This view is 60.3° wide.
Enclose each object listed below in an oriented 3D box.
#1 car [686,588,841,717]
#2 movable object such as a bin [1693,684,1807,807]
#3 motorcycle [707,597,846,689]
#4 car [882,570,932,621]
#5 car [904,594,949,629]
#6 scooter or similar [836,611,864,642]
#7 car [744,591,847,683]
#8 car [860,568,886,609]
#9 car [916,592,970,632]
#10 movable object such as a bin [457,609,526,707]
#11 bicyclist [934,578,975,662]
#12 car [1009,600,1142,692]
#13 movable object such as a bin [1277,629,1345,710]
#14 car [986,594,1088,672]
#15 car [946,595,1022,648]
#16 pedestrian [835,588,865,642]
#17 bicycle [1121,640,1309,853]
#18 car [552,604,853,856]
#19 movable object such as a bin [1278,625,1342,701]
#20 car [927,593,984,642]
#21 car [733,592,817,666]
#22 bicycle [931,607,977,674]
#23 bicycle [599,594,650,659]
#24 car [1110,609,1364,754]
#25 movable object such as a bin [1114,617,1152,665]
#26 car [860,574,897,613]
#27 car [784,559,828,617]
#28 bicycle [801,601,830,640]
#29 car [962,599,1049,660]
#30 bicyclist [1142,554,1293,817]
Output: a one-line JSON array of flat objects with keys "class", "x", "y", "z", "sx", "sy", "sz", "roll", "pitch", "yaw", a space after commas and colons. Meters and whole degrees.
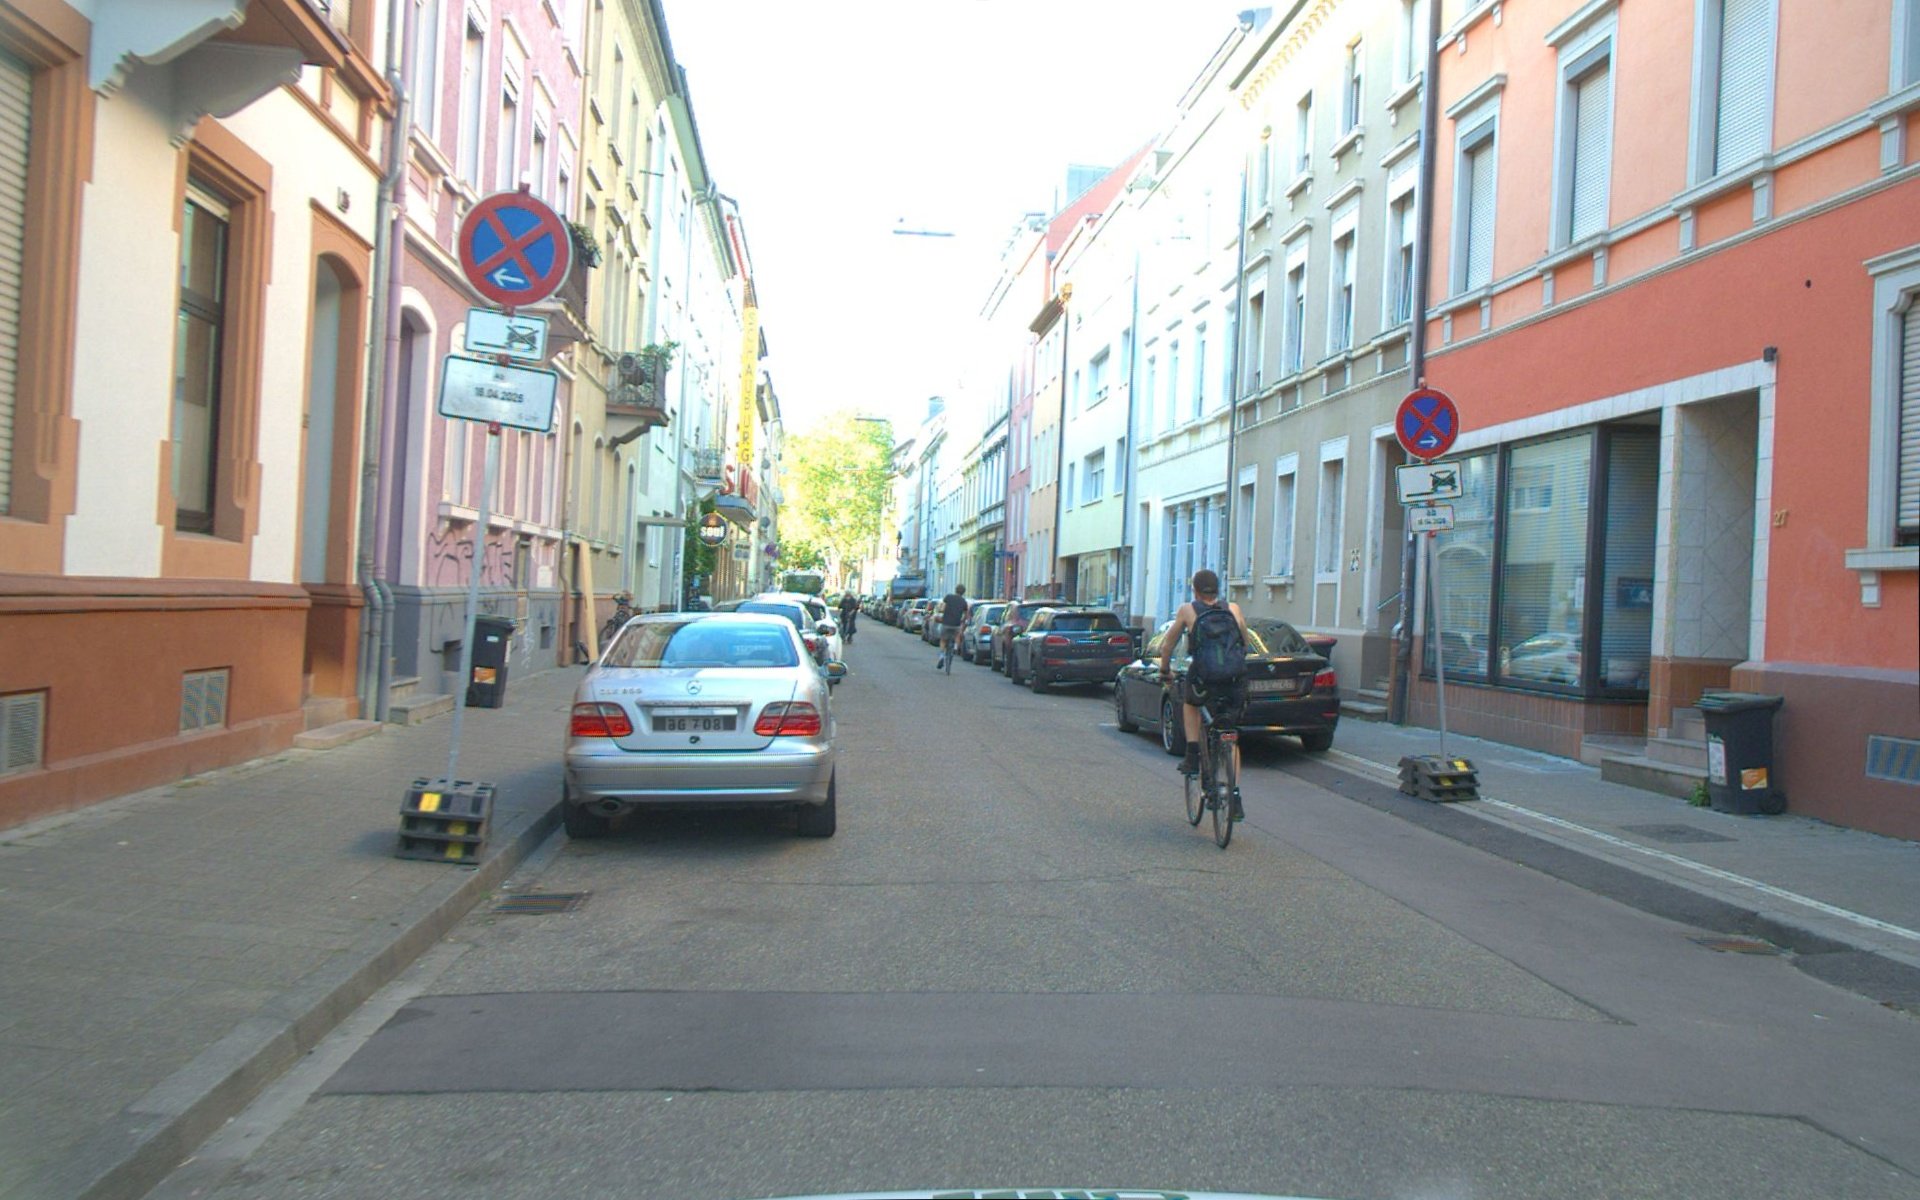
[{"class": "car", "x": -2.489, "y": 0.608, "z": 21.846, "sx": 1.676, "sy": 1.407, "sz": 4.353, "roll": 2, "pitch": 1, "yaw": -3}, {"class": "movable object such as a bin", "x": 6.256, "y": 1.143, "z": 13.119, "sx": 0.586, "sy": 0.922, "sz": 0.578, "roll": 0, "pitch": -1, "yaw": -7}, {"class": "motorcycle", "x": -2.865, "y": 0.655, "z": 25.913, "sx": 2.117, "sy": 1.383, "sz": 0.536, "roll": -1, "pitch": 1, "yaw": -24}, {"class": "car", "x": -2.841, "y": -0.231, "z": 87.825, "sx": 2.263, "sy": 2.582, "sz": 6.762, "roll": 0, "pitch": 0, "yaw": -5}, {"class": "car", "x": -1.477, "y": 0.498, "z": 72.153, "sx": 1.677, "sy": 1.473, "sz": 3.996, "roll": 0, "pitch": 0, "yaw": -5}, {"class": "scooter or similar", "x": -3.349, "y": 0.812, "z": 50.343, "sx": 0.756, "sy": 0.888, "sz": 0.769, "roll": 4, "pitch": -1, "yaw": -9}, {"class": "car", "x": -2.823, "y": 0.603, "z": 28.647, "sx": 1.639, "sy": 1.467, "sz": 4.161, "roll": 0, "pitch": 0, "yaw": -5}, {"class": "car", "x": -8.460, "y": -1.074, "z": 160.374, "sx": 2.263, "sy": 3.834, "sz": 6.762, "roll": 0, "pitch": 0, "yaw": -5}, {"class": "car", "x": -0.647, "y": 0.428, "z": 60.872, "sx": 1.677, "sy": 1.418, "sz": 3.996, "roll": 0, "pitch": 0, "yaw": -5}, {"class": "movable object such as a bin", "x": -4.835, "y": 0.594, "z": 17.091, "sx": 0.533, "sy": 0.961, "sz": 0.487, "roll": 4, "pitch": -1, "yaw": -4}, {"class": "bicyclist", "x": -0.111, "y": 0.390, "z": 33.301, "sx": 0.688, "sy": 1.633, "sz": 0.812, "roll": 2, "pitch": 1, "yaw": -6}, {"class": "car", "x": 2.012, "y": 0.788, "z": 29.925, "sx": 1.781, "sy": 1.548, "sz": 3.996, "roll": 0, "pitch": 0, "yaw": -5}, {"class": "movable object such as a bin", "x": 4.916, "y": 0.967, "z": 23.169, "sx": 0.723, "sy": 1.094, "sz": 0.675, "roll": 0, "pitch": 0, "yaw": -12}, {"class": "car", "x": 1.604, "y": 0.680, "z": 35.660, "sx": 1.677, "sy": 1.583, "sz": 3.996, "roll": 0, "pitch": 0, "yaw": -5}, {"class": "car", "x": 0.623, "y": 0.577, "z": 45.853, "sx": 1.677, "sy": 1.407, "sz": 3.996, "roll": 0, "pitch": 0, "yaw": -5}, {"class": "pedestrian", "x": -3.385, "y": 0.460, "z": 50.703, "sx": 0.756, "sy": 1.606, "sz": 0.898, "roll": 4, "pitch": -1, "yaw": -9}, {"class": "bicycle", "x": 1.695, "y": 0.936, "z": 11.413, "sx": 0.688, "sy": 1.229, "sz": 2.339, "roll": 4, "pitch": 0, "yaw": -5}, {"class": "car", "x": -1.648, "y": 0.738, "z": 11.598, "sx": 1.677, "sy": 1.407, "sz": 4.500, "roll": 0, "pitch": 0, "yaw": -5}, {"class": "movable object such as a bin", "x": 5.138, "y": 0.916, "z": 24.286, "sx": 0.790, "sy": 1.094, "sz": 0.677, "roll": 0, "pitch": 0, "yaw": -1}, {"class": "car", "x": -0.191, "y": 0.575, "z": 55.483, "sx": 1.589, "sy": 1.577, "sz": 3.996, "roll": 0, "pitch": 0, "yaw": -5}, {"class": "car", "x": -3.813, "y": 0.580, "z": 34.524, "sx": 1.639, "sy": 1.467, "sz": 3.764, "roll": 0, "pitch": 0, "yaw": -5}, {"class": "bicycle", "x": -0.137, "y": 0.792, "z": 33.377, "sx": 0.688, "sy": 1.229, "sz": 2.340, "roll": 2, "pitch": 1, "yaw": -5}, {"class": "bicycle", "x": -6.034, "y": 0.462, "z": 29.824, "sx": 0.581, "sy": 1.107, "sz": 2.077, "roll": 4, "pitch": 0, "yaw": -5}, {"class": "car", "x": 3.067, "y": 0.847, "z": 19.371, "sx": 1.781, "sy": 1.463, "sz": 4.785, "roll": 0, "pitch": 0, "yaw": -5}, {"class": "movable object such as a bin", "x": 4.028, "y": 0.945, "z": 38.523, "sx": 0.790, "sy": 1.094, "sz": 0.677, "roll": 0, "pitch": 0, "yaw": -1}, {"class": "car", "x": -5.632, "y": -0.433, "z": 113.097, "sx": 2.263, "sy": 2.582, "sz": 6.762, "roll": 0, "pitch": 0, "yaw": -5}, {"class": "car", "x": -7.103, "y": -0.549, "z": 76.003, "sx": 1.873, "sy": 2.540, "sz": 4.159, "roll": 2, "pitch": 0, "yaw": -7}, {"class": "bicycle", "x": -4.462, "y": 0.609, "z": 50.907, "sx": 0.686, "sy": 1.124, "sz": 2.270, "roll": 4, "pitch": 0, "yaw": -9}, {"class": "car", "x": 1.070, "y": 0.690, "z": 40.630, "sx": 1.677, "sy": 1.407, "sz": 3.996, "roll": 0, "pitch": 0, "yaw": -5}, {"class": "bicyclist", "x": 1.729, "y": 0.555, "z": 11.250, "sx": 0.688, "sy": 1.661, "sz": 1.089, "roll": 4, "pitch": -1, "yaw": -5}]
